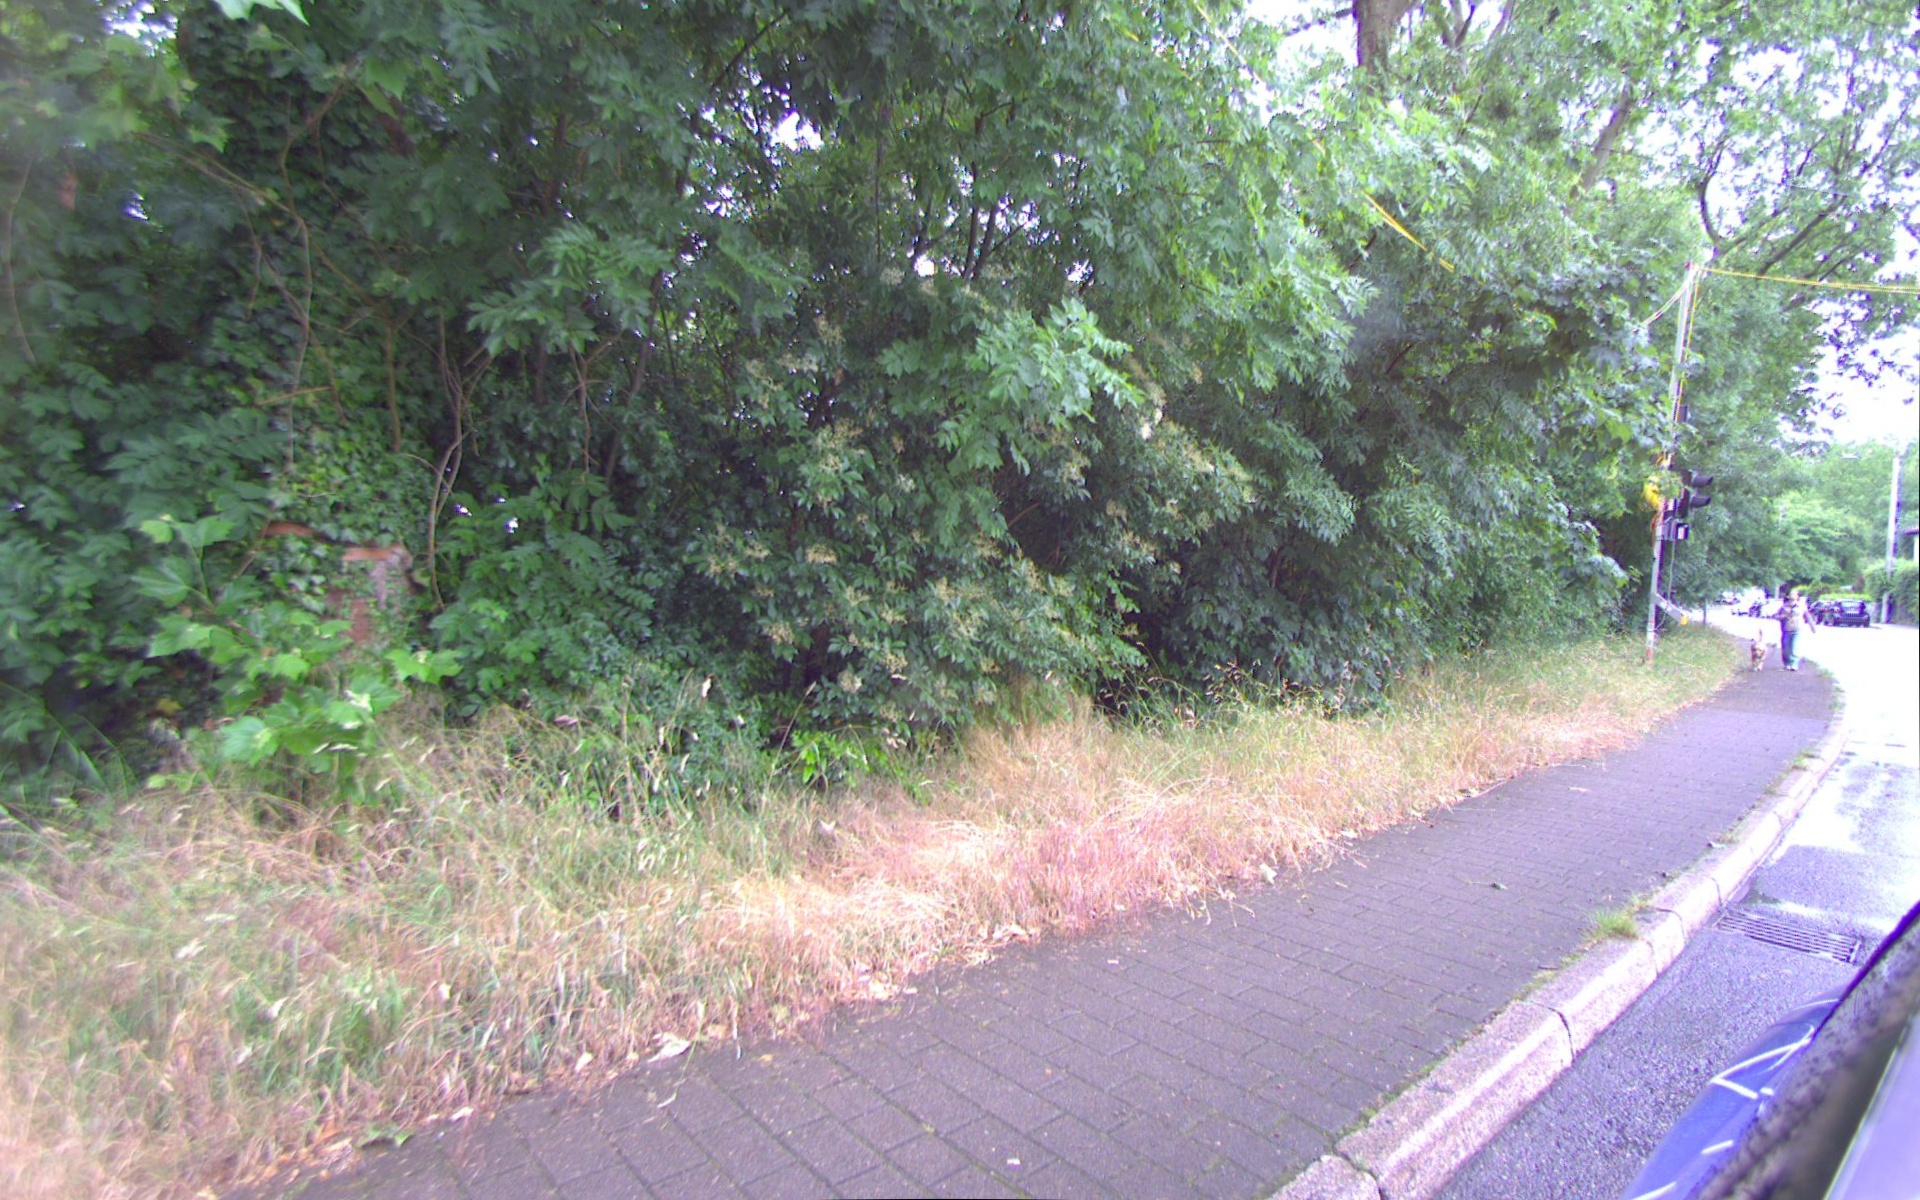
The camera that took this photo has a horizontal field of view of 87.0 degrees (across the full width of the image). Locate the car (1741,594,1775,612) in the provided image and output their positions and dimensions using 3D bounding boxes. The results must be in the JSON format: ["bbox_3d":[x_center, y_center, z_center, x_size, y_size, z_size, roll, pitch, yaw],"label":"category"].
[{"bbox_3d":[64.928,0.225,82.372,1.676,1.445,3.734,1,1,31],"label":"car"}]

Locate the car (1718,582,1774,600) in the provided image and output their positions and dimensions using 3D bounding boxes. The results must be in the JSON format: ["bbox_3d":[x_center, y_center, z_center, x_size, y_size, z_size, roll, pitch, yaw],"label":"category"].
[{"bbox_3d":[81.779,-0.947,105.341,4.527,1.805,2.003,0,0,-9],"label":"car"}]

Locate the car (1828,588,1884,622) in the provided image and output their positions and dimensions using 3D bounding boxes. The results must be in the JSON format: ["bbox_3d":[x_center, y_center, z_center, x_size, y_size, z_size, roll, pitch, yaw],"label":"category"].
[{"bbox_3d":[51.048,0.286,57.707,1.869,1.848,4.075,1,1,35],"label":"car"}]

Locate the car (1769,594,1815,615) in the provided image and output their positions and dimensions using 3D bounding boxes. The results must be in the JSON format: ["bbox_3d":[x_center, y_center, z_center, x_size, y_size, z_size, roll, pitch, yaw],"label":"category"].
[{"bbox_3d":[60.735,0.302,73.919,2.055,1.504,4.509,1,1,33],"label":"car"}]

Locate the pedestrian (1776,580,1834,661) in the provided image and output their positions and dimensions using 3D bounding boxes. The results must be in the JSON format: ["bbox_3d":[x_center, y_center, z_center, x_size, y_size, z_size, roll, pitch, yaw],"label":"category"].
[{"bbox_3d":[16.404,0.386,19.645,0.771,1.518,0.734,0,-1,-42],"label":"pedestrian"}]
